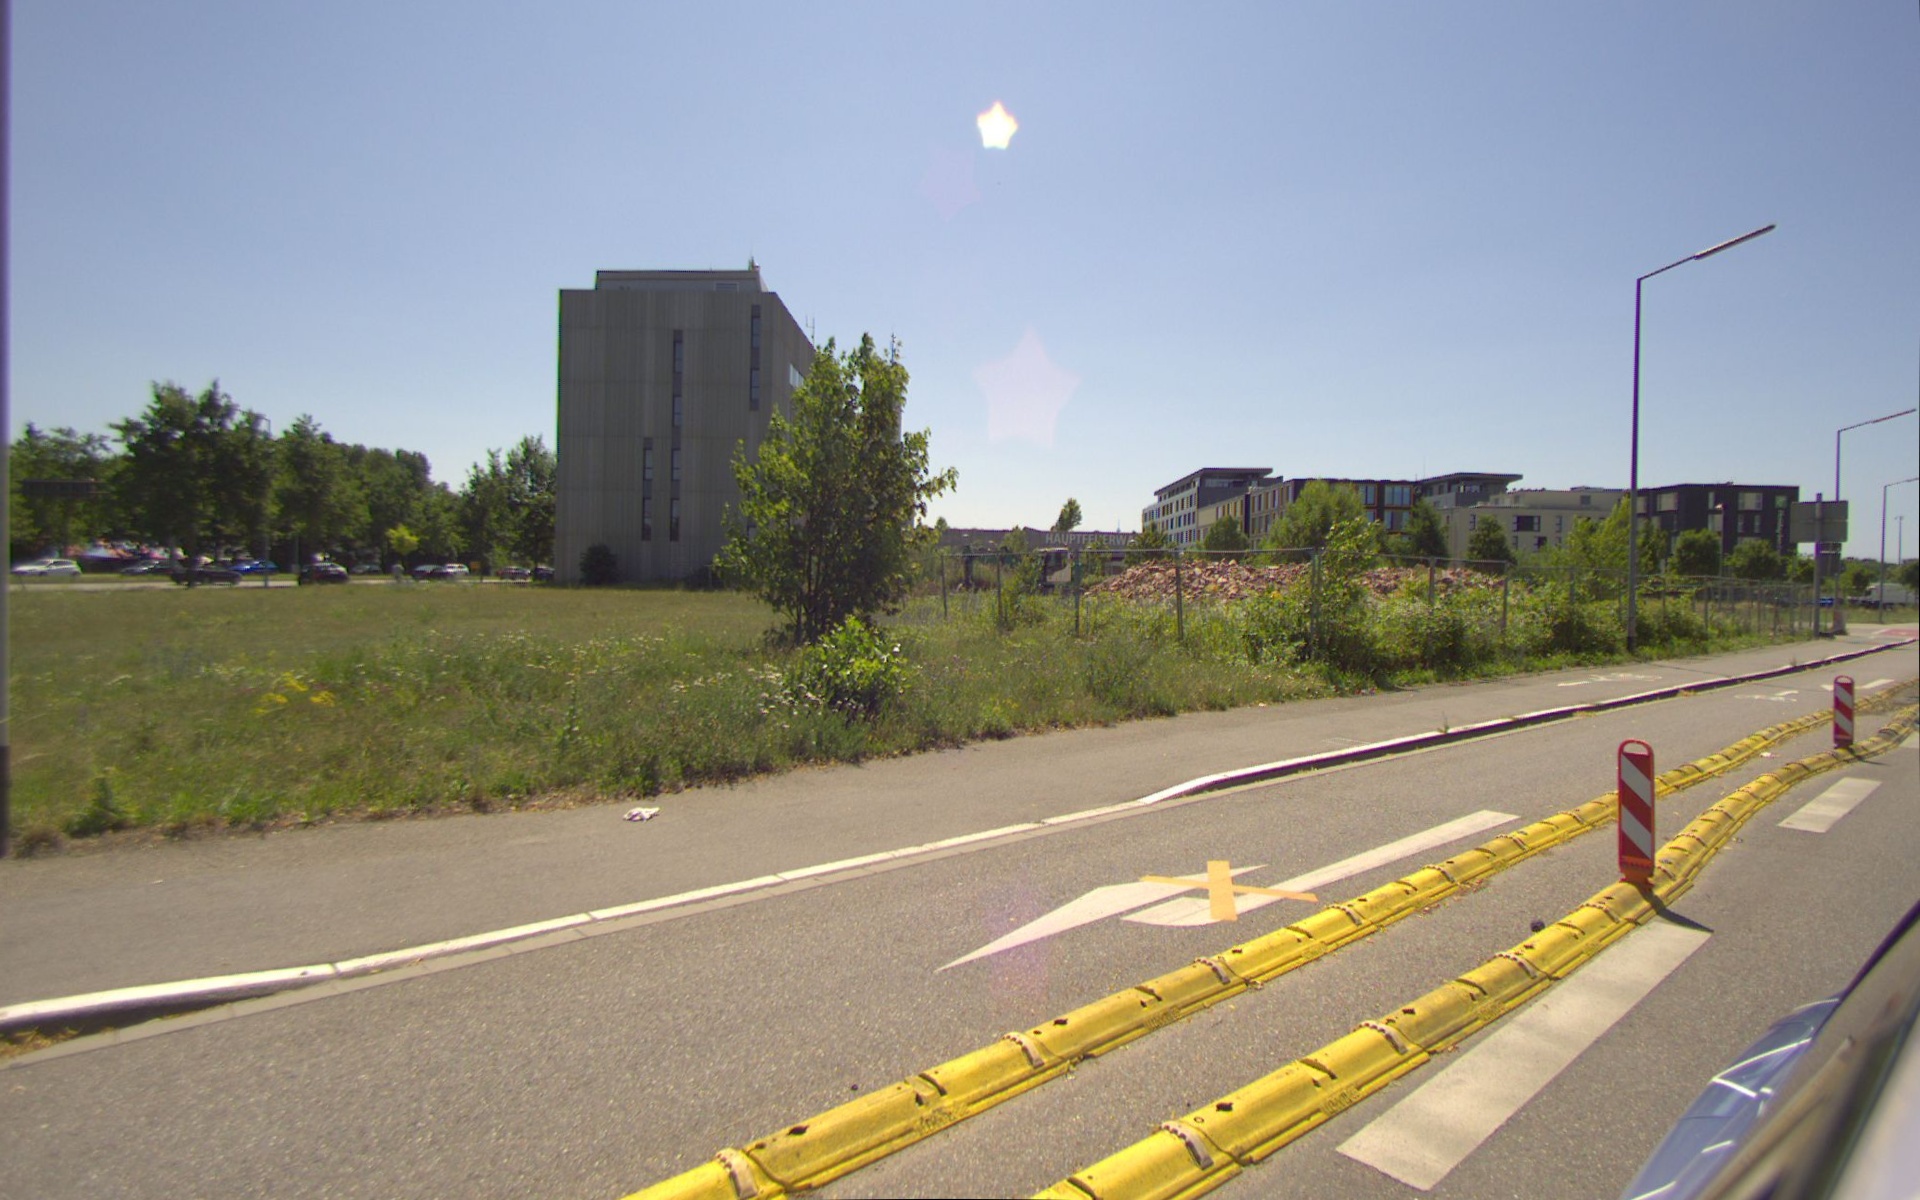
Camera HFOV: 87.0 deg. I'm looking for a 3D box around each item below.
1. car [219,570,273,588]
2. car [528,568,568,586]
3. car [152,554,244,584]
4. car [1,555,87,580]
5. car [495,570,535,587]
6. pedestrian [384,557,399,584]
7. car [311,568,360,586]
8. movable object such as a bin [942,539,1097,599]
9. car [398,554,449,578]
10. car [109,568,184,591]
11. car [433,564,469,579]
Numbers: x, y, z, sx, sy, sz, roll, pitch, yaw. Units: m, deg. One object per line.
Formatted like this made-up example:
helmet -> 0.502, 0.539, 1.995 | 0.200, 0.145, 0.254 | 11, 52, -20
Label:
car -> -61.753, -1.793, 87.576 | 1.734, 1.557, 3.997 | 0, 0, 3
car -> -41.932, -2.283, 103.051 | 1.964, 1.757, 4.639 | 0, 0, 4
car -> -47.027, -1.866, 62.610 | 1.960, 1.757, 5.334 | 0, 0, -4
car -> -62.253, -2.170, 68.863 | 1.814, 1.611, 4.444 | 1, 1, 1
car -> -47.427, -2.299, 107.908 | 1.964, 1.757, 4.639 | 0, 0, 4
pedestrian -> -34.204, -1.753, 60.918 | 0.652, 1.611, 0.557 | 0, 0, -15
car -> -58.293, -2.110, 94.509 | 1.814, 1.612, 4.443 | 0, 0, 1
movable object such as a bin -> 3.171, -1.588, 53.328 | 7.537, 2.952, 3.242 | -1, 0, -26
car -> -45.379, -2.855, 85.773 | 1.961, 1.961, 4.645 | 0, 0, -1
car -> -58.715, -1.473, 73.132 | 1.814, 1.612, 4.443 | 0, 0, 1
car -> -57.749, -3.227, 114.836 | 1.814, 1.612, 4.444 | 0, 0, 1
